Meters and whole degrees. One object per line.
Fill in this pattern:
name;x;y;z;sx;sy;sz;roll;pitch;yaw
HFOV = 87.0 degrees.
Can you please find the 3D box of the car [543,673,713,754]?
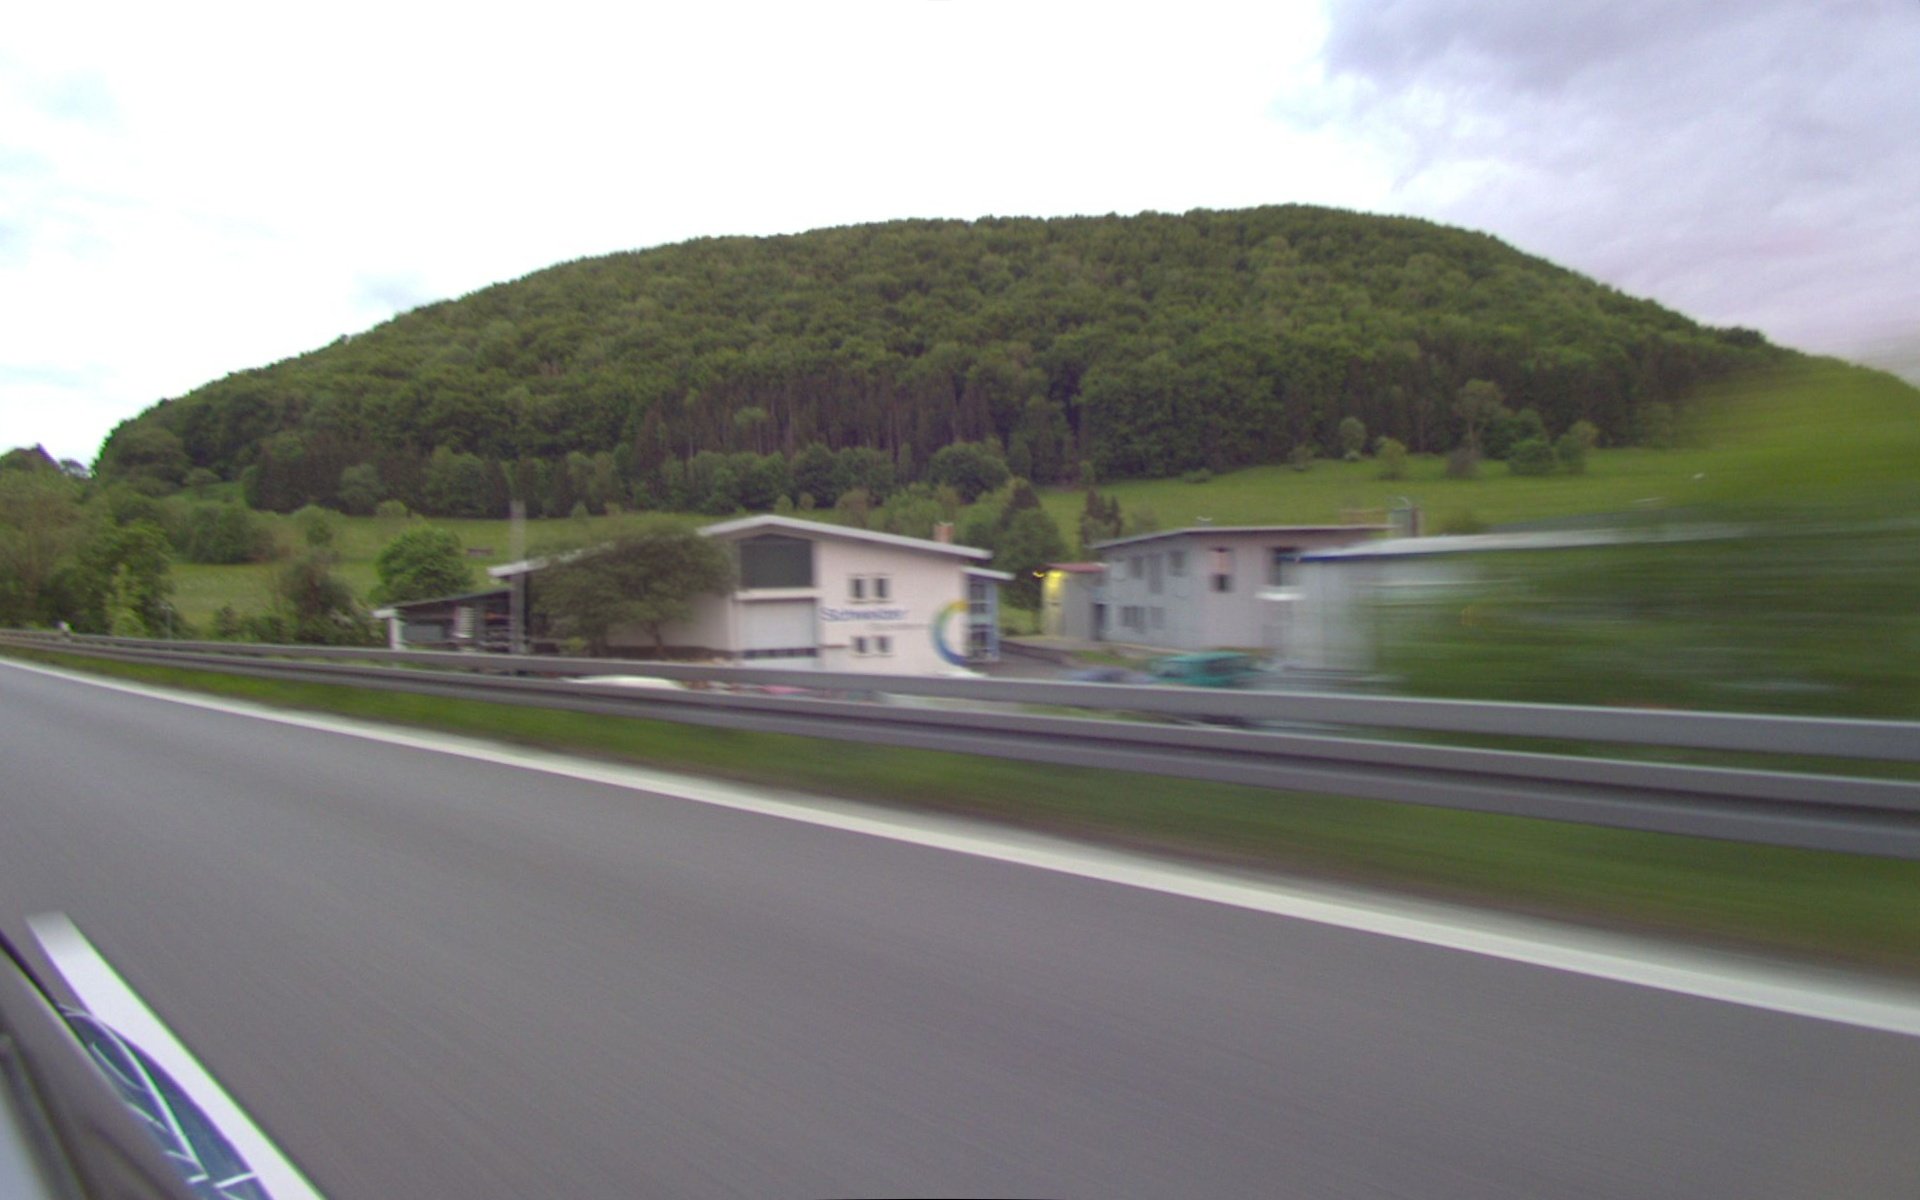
car;-8.784;2.941;26.939;3.941;1.706;1.774;0;0;-45
